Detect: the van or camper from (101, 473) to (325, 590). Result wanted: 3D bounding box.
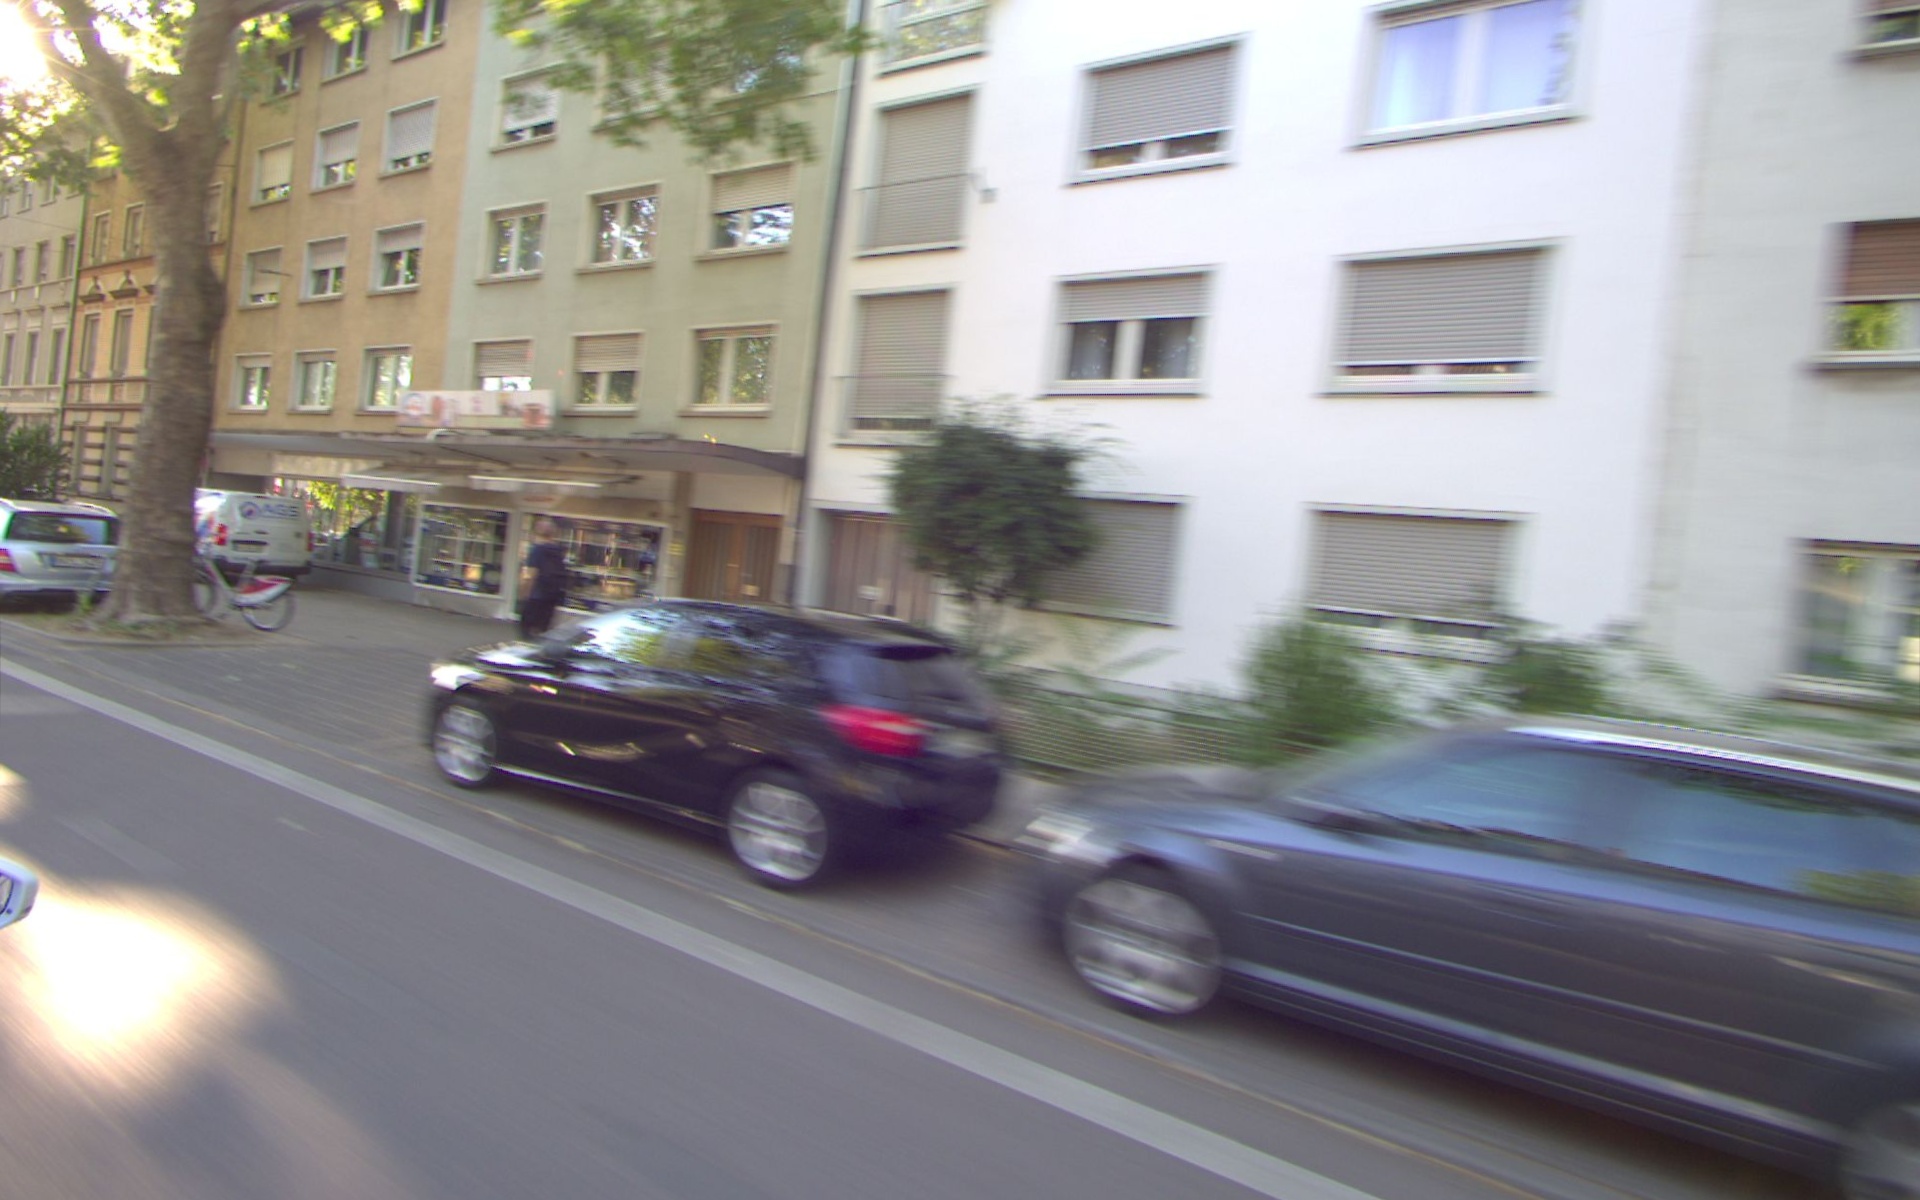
[{"bbox_3d":[-16.193,-1.512,21.716,5.301,1.947,1.944,7,1,31],"label":"van or camper"}]

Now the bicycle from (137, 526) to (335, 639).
[{"bbox_3d":[-9.334,-0.212,12.995,2.042,1.144,0.772,8,-1,11],"label":"bicycle"}]

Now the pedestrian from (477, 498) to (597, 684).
[{"bbox_3d":[-4.968,-0.107,11.822,0.995,2.040,0.683,7,2,31],"label":"pedestrian"}]

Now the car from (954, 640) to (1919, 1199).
[{"bbox_3d":[2.293,1.133,4.027,4.291,1.434,1.709,7,2,32],"label":"car"}]

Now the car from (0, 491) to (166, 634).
[{"bbox_3d":[-12.706,-0.644,13.434,4.697,1.562,1.697,7,0,31],"label":"car"}]

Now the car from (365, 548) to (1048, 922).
[{"bbox_3d":[-1.788,0.605,6.518,4.291,1.434,1.709,7,2,32],"label":"car"}]
